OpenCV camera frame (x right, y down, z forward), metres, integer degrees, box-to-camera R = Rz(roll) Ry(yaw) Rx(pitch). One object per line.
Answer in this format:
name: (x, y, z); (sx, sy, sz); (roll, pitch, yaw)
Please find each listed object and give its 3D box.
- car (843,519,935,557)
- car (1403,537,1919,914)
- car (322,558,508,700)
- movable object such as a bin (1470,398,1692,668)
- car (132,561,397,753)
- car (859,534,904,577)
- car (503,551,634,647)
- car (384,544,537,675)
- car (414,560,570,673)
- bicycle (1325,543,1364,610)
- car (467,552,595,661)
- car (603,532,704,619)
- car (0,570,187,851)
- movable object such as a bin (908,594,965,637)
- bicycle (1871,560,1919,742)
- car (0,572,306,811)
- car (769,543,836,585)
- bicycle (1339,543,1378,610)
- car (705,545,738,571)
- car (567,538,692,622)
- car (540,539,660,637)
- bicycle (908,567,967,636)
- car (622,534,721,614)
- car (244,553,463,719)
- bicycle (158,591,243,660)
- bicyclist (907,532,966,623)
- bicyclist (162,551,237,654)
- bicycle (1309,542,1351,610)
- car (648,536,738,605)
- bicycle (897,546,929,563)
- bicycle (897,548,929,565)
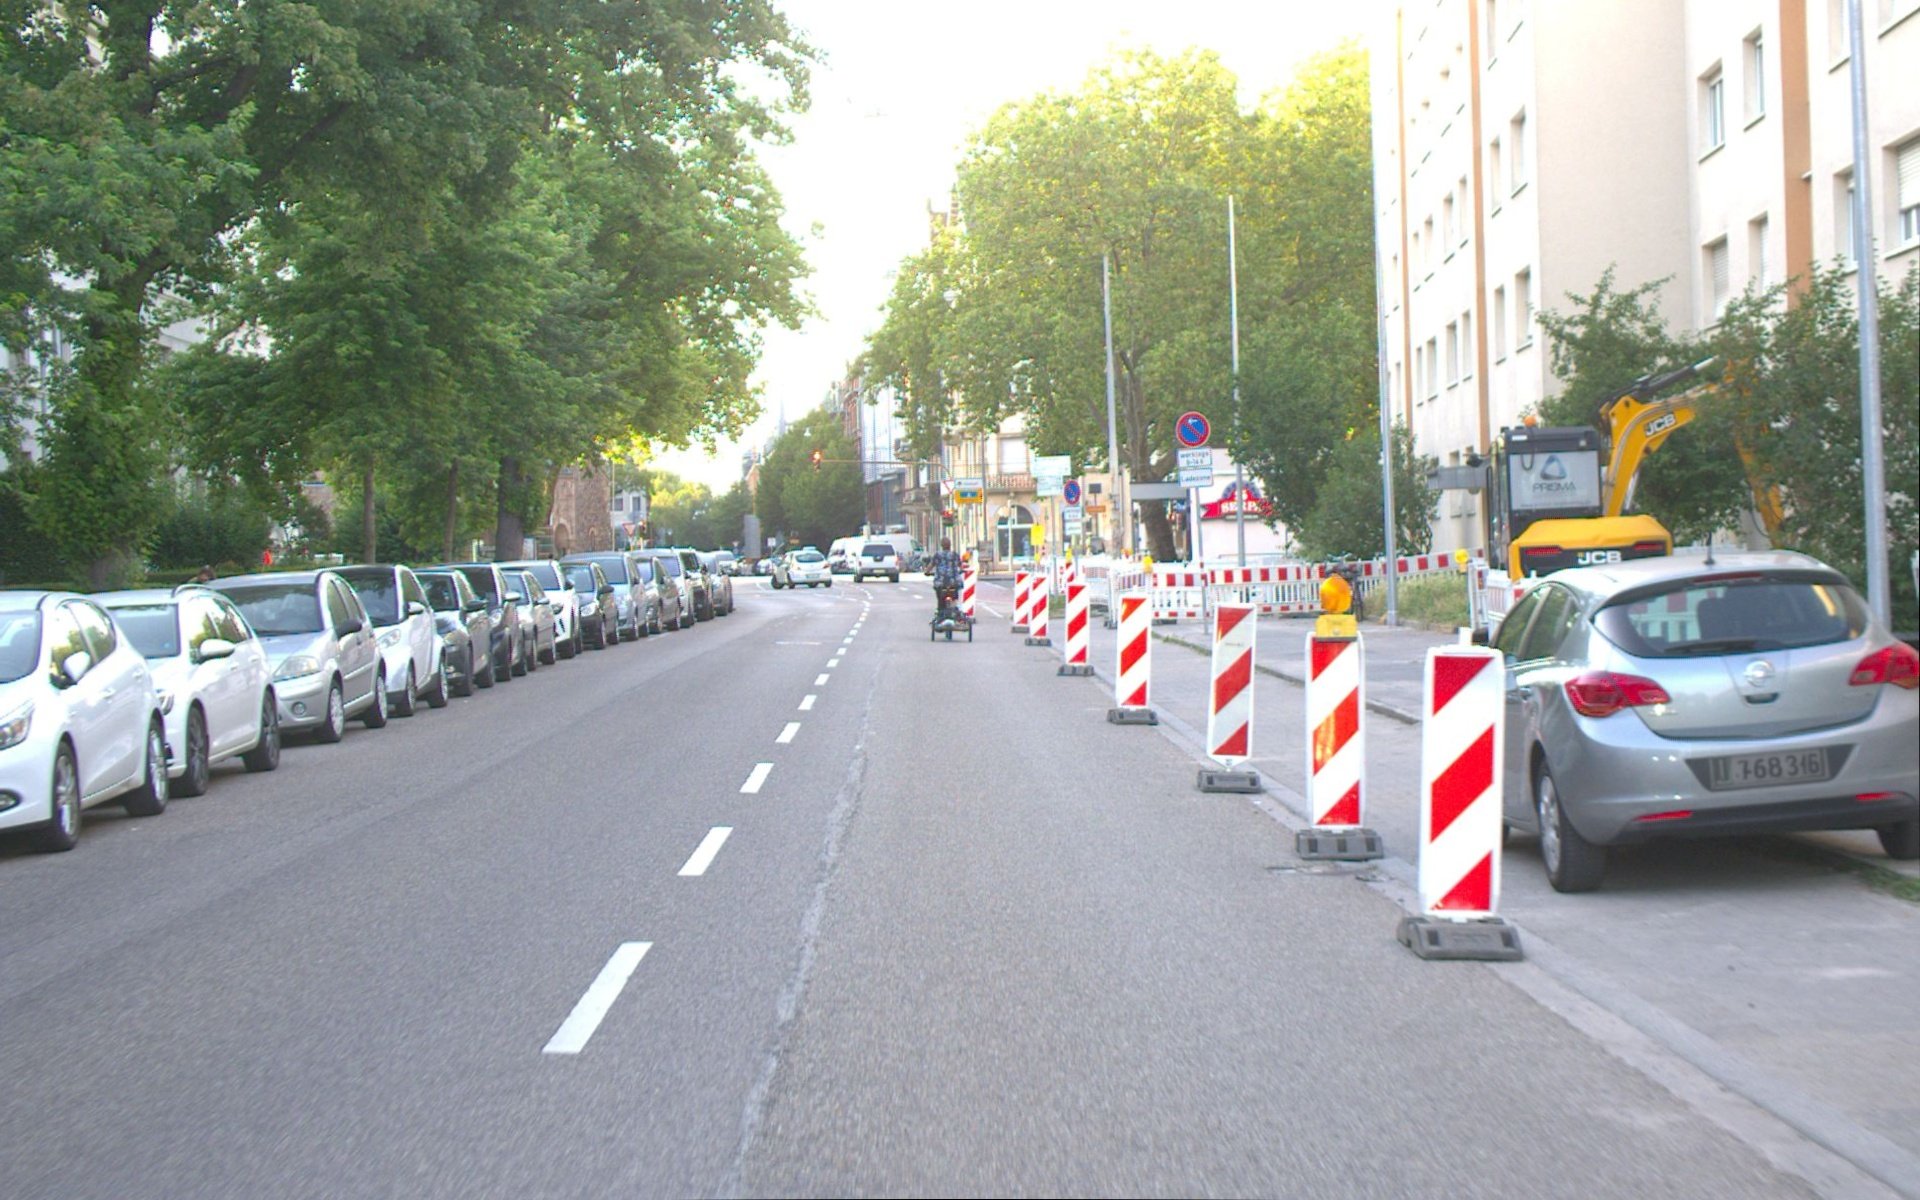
car: (-4.402, -3.895, 214.400); (5.807, 2.280, 2.071); (-2, 1, -44)
car: (3.447, 0.508, 17.164); (1.776, 1.485, 4.573); (-5, 1, 0)
car: (-6.306, 0.294, 40.110); (1.590, 1.461, 4.102); (-4, 1, -3)
movable object such as a bin: (6.464, -0.700, 36.067); (1.933, 2.684, 2.891); (-1, 1, 4)
car: (-6.212, 0.459, 31.063); (1.590, 1.500, 3.800); (-4, 1, -1)
car: (-3.504, -1.980, 152.156); (1.866, 1.808, 4.000); (-2, 1, -2)
car: (-6.604, -0.043, 58.331); (1.707, 1.447, 3.843); (-4, 1, 0)
car: (-6.409, 0.098, 44.381); (1.523, 1.524, 3.165); (-4, 1, -2)
car: (-6.562, 0.195, 48.529); (1.590, 1.399, 4.181); (-4, 1, -1)
bicycle: (7.030, -0.439, 62.921); (0.398, 1.217, 1.911); (-1, 1, -3)
car: (-6.693, 0.072, 53.937); (1.590, 1.533, 4.207); (-4, 1, -3)
car: (-6.483, -0.533, 73.012); (1.846, 1.685, 4.860); (-3, 1, -3)
car: (-5.818, 0.620, 20.202); (1.692, 1.454, 4.146); (-4, 1, -3)
movable object such as a bin: (-0.408, 0.264, 60.587); (0.939, 0.686, 0.993); (-4, 1, 1)
bicycle: (6.586, 0.329, 21.901); (0.556, 1.168, 1.817); (-1, 1, -20)
car: (-6.016, 0.599, 24.899); (1.692, 1.454, 4.484); (-4, 1, -1)
car: (-6.284, -1.410, 136.751); (1.865, 1.580, 4.001); (-2, 1, -14)
bicycle: (7.282, -0.438, 62.856); (0.398, 1.217, 1.826); (-1, 1, -3)
car: (-15.205, -2.692, 218.810); (1.781, 1.645, 3.822); (0, 1, -9)
car: (-6.449, -0.415, 67.552); (1.733, 1.492, 4.270); (-3, 1, 3)
car: (-6.531, -0.244, 62.748); (1.707, 1.595, 4.117); (-4, 1, -1)
bicycle: (-0.395, 0.010, 62.259); (0.939, 1.168, 2.359); (-4, 1, 1)
car: (-6.700, -0.627, 80.265); (1.953, 1.713, 4.771); (-3, 1, -1)
car: (-6.223, 0.334, 35.527); (1.590, 1.524, 2.921); (-4, 1, 1)
bicycle: (-10.491, 0.340, 47.549); (0.808, 0.908, 1.762); (-1, 1, -1)
bicyclist: (-0.425, -0.417, 62.274); (0.939, 1.576, 1.146); (-4, 0, 1)
bicyclist: (-10.488, 0.032, 47.434); (0.808, 1.399, 0.974); (-1, 1, -1)
bicycle: (6.756, -0.439, 62.829); (0.451, 1.217, 1.911); (-1, 1, -3)
car: (-6.809, -0.769, 88.104); (1.953, 1.611, 4.605); (-3, 1, -1)
bicycle: (-2.861, -2.766, 208.077); (1.914, 0.965, 0.546); (-1, 1, -2)
bicycle: (-2.831, -2.652, 208.192); (1.914, 0.965, 0.546); (-1, 1, -2)
